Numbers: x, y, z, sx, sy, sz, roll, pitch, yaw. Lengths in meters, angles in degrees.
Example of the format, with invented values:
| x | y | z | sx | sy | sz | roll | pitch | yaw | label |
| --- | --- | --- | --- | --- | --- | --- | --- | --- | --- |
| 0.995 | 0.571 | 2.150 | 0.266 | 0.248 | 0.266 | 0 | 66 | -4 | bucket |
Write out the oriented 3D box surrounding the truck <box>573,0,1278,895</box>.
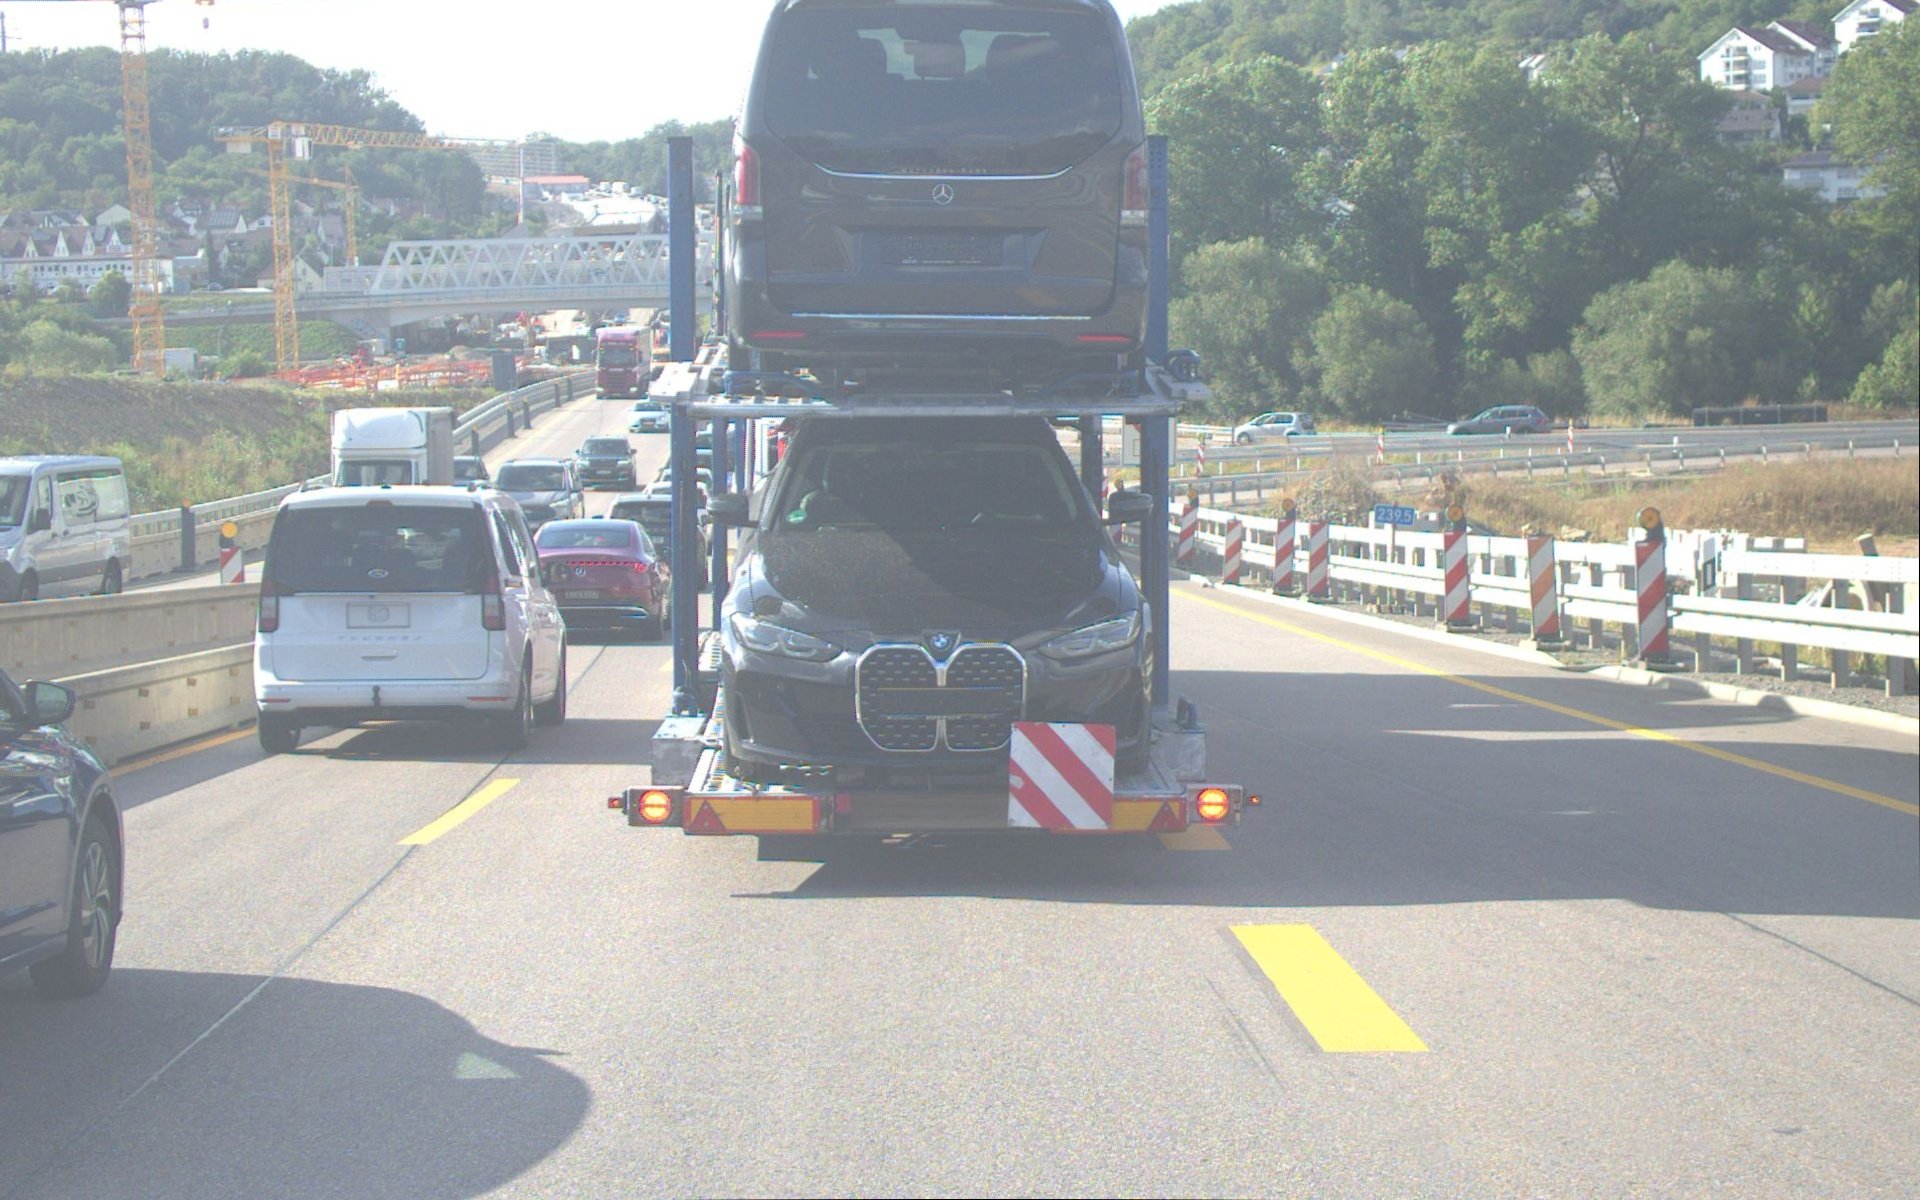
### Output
| x | y | z | sx | sy | sz | roll | pitch | yaw | label |
| --- | --- | --- | --- | --- | --- | --- | --- | --- | --- |
| -0.341 | -0.905 | 23.140 | 2.753 | 3.941 | 18.891 | 1 | 1 | -1 | truck |

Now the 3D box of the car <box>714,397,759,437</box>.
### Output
| x | y | z | sx | sy | sz | roll | pitch | yaw | label |
| --- | --- | --- | --- | --- | --- | --- | --- | --- | --- |
| -9.676 | -7.888 | 148.613 | 1.844 | 1.642 | 4.506 | 0 | 2 | -5 | car |

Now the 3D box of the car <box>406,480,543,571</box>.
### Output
| x | y | z | sx | sy | sz | roll | pitch | yaw | label |
| --- | --- | --- | --- | --- | --- | --- | --- | --- | --- |
| -9.397 | -1.461 | 66.846 | 2.125 | 1.668 | 4.273 | 1 | 2 | -2 | car |

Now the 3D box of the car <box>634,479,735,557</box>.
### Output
| x | y | z | sx | sy | sz | roll | pitch | yaw | label |
| --- | --- | --- | --- | --- | --- | --- | --- | --- | --- |
| -6.088 | -1.800 | 76.342 | 1.993 | 1.660 | 4.000 | 0 | 0 | -1 | car |

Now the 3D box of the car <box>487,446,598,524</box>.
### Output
| x | y | z | sx | sy | sz | roll | pitch | yaw | label |
| --- | --- | --- | --- | --- | --- | --- | --- | --- | --- |
| -9.930 | -2.737 | 82.094 | 2.125 | 1.760 | 5.031 | 1 | 2 | -2 | car |

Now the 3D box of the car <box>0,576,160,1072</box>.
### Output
| x | y | z | sx | sy | sz | roll | pitch | yaw | label |
| --- | --- | --- | --- | --- | --- | --- | --- | --- | --- |
| -3.607 | 0.645 | 9.910 | 1.722 | 1.417 | 4.000 | 0 | -1 | -1 | car |

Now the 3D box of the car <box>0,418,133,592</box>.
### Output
| x | y | z | sx | sy | sz | roll | pitch | yaw | label |
| --- | --- | --- | --- | --- | --- | --- | --- | --- | --- |
| -13.902 | -1.333 | 50.154 | 2.258 | 2.394 | 5.867 | 0 | 1 | 0 | car |

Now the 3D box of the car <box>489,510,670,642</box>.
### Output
| x | y | z | sx | sy | sz | roll | pitch | yaw | label |
| --- | --- | --- | --- | --- | --- | --- | --- | --- | --- |
| -4.667 | -0.305 | 42.686 | 1.993 | 1.551 | 4.401 | 0 | 1 | -3 | car |

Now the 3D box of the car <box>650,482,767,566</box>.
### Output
| x | y | z | sx | sy | sz | roll | pitch | yaw | label |
| --- | --- | --- | --- | --- | --- | --- | --- | --- | --- |
| -4.747 | -1.415 | 65.336 | 1.993 | 1.547 | 4.000 | 0 | 1 | -1 | car |

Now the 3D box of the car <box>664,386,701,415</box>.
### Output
| x | y | z | sx | sy | sz | roll | pitch | yaw | label |
| --- | --- | --- | --- | --- | --- | --- | --- | --- | --- |
| -14.650 | -10.534 | 181.785 | 1.754 | 1.435 | 3.805 | 0 | 2 | -2 | car |

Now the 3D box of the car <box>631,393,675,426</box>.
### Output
| x | y | z | sx | sy | sz | roll | pitch | yaw | label |
| --- | --- | --- | --- | --- | --- | --- | --- | --- | --- |
| -14.496 | -8.992 | 162.468 | 1.852 | 1.435 | 4.559 | 0 | 2 | -2 | car |

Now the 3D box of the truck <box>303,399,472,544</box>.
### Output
| x | y | z | sx | sy | sz | roll | pitch | yaw | label |
| --- | --- | --- | --- | --- | --- | --- | --- | --- | --- |
| -13.730 | -3.015 | 83.040 | 2.700 | 3.300 | 7.537 | 0 | 1 | 1 | truck |

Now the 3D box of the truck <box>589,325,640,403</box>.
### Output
| x | y | z | sx | sy | sz | roll | pitch | yaw | label |
| --- | --- | --- | --- | --- | --- | --- | --- | --- | --- |
| -20.434 | -13.909 | 203.318 | 2.914 | 4.372 | 6.288 | 1 | 2 | -6 | truck |

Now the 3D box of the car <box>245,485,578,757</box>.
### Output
| x | y | z | sx | sy | sz | roll | pitch | yaw | label |
| --- | --- | --- | --- | --- | --- | --- | --- | --- | --- |
| -3.831 | 0.117 | 24.618 | 1.823 | 1.786 | 4.000 | 0 | 1 | -1 | car |

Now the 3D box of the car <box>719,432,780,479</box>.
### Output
| x | y | z | sx | sy | sz | roll | pitch | yaw | label |
| --- | --- | --- | --- | --- | --- | --- | --- | --- | --- |
| -7.504 | -5.140 | 122.671 | 1.993 | 1.547 | 4.000 | 0 | 1 | -1 | car |

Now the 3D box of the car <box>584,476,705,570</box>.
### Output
| x | y | z | sx | sy | sz | roll | pitch | yaw | label |
| --- | --- | --- | --- | --- | --- | --- | --- | --- | --- |
| -5.380 | -1.295 | 58.935 | 1.993 | 1.547 | 4.001 | 0 | 1 | -4 | car |

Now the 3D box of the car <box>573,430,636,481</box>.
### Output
| x | y | z | sx | sy | sz | roll | pitch | yaw | label |
| --- | --- | --- | --- | --- | --- | --- | --- | --- | --- |
| -12.132 | -4.912 | 117.577 | 1.852 | 1.630 | 4.749 | 1 | 2 | -3 | car |
